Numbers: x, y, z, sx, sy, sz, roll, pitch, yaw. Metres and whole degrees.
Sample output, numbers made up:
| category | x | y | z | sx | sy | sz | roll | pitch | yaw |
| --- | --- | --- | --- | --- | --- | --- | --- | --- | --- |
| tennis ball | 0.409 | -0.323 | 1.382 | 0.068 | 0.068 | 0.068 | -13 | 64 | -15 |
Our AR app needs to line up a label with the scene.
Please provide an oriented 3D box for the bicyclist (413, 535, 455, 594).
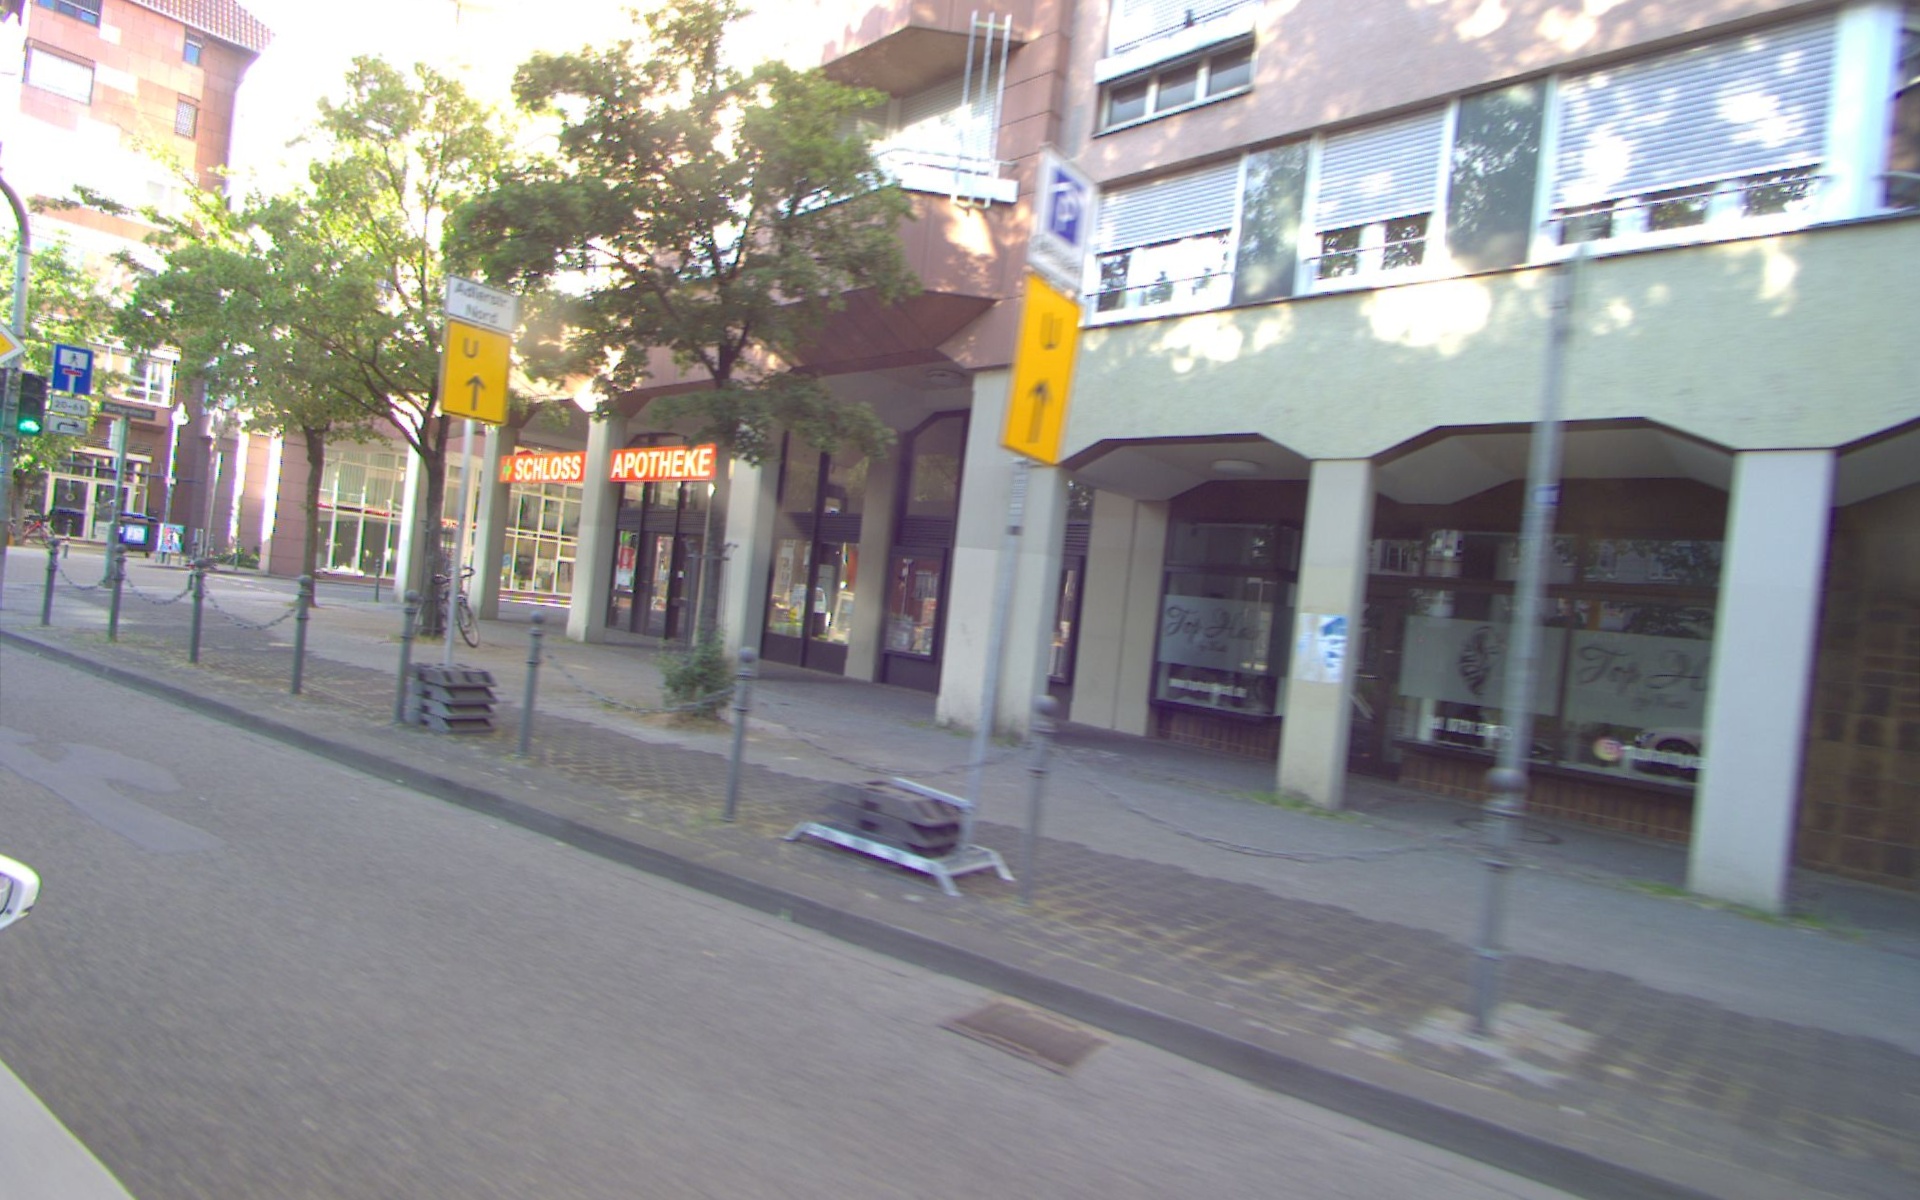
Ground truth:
| category | x | y | z | sx | sy | sz | roll | pitch | yaw |
| --- | --- | --- | --- | --- | --- | --- | --- | --- | --- |
| bicyclist | -17.181 | -1.159 | 32.854 | 0.777 | 1.792 | 0.824 | 7 | 1 | 41 |

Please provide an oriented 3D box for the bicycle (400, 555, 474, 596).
| category | x | y | z | sx | sy | sz | roll | pitch | yaw |
| --- | --- | --- | --- | --- | --- | --- | --- | --- | --- |
| bicycle | -17.135 | -0.795 | 32.973 | 0.792 | 1.126 | 1.912 | 7 | 0 | 40 |

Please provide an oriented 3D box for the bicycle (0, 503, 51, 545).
| category | x | y | z | sx | sy | sz | roll | pitch | yaw |
| --- | --- | --- | --- | --- | --- | --- | --- | --- | --- |
| bicycle | -32.113 | -2.617 | 34.266 | 0.569 | 1.242 | 1.566 | 7 | 0 | 38 |

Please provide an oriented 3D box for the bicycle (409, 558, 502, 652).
| category | x | y | z | sx | sy | sz | roll | pitch | yaw |
| --- | --- | --- | --- | --- | --- | --- | --- | --- | --- |
| bicycle | -7.791 | 0.049 | 15.501 | 0.620 | 1.241 | 1.902 | 6 | 1 | -45 |

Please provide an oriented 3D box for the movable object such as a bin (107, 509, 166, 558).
| category | x | y | z | sx | sy | sz | roll | pitch | yaw |
| --- | --- | --- | --- | --- | --- | --- | --- | --- | --- |
| movable object such as a bin | -28.605 | -2.304 | 34.962 | 0.860 | 1.500 | 1.407 | 7 | 0 | 44 |

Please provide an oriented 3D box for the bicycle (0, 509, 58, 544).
| category | x | y | z | sx | sy | sz | roll | pitch | yaw |
| --- | --- | --- | --- | --- | --- | --- | --- | --- | --- |
| bicycle | -34.156 | -2.676 | 36.629 | 1.733 | 1.066 | 0.733 | 7 | 0 | -31 |
